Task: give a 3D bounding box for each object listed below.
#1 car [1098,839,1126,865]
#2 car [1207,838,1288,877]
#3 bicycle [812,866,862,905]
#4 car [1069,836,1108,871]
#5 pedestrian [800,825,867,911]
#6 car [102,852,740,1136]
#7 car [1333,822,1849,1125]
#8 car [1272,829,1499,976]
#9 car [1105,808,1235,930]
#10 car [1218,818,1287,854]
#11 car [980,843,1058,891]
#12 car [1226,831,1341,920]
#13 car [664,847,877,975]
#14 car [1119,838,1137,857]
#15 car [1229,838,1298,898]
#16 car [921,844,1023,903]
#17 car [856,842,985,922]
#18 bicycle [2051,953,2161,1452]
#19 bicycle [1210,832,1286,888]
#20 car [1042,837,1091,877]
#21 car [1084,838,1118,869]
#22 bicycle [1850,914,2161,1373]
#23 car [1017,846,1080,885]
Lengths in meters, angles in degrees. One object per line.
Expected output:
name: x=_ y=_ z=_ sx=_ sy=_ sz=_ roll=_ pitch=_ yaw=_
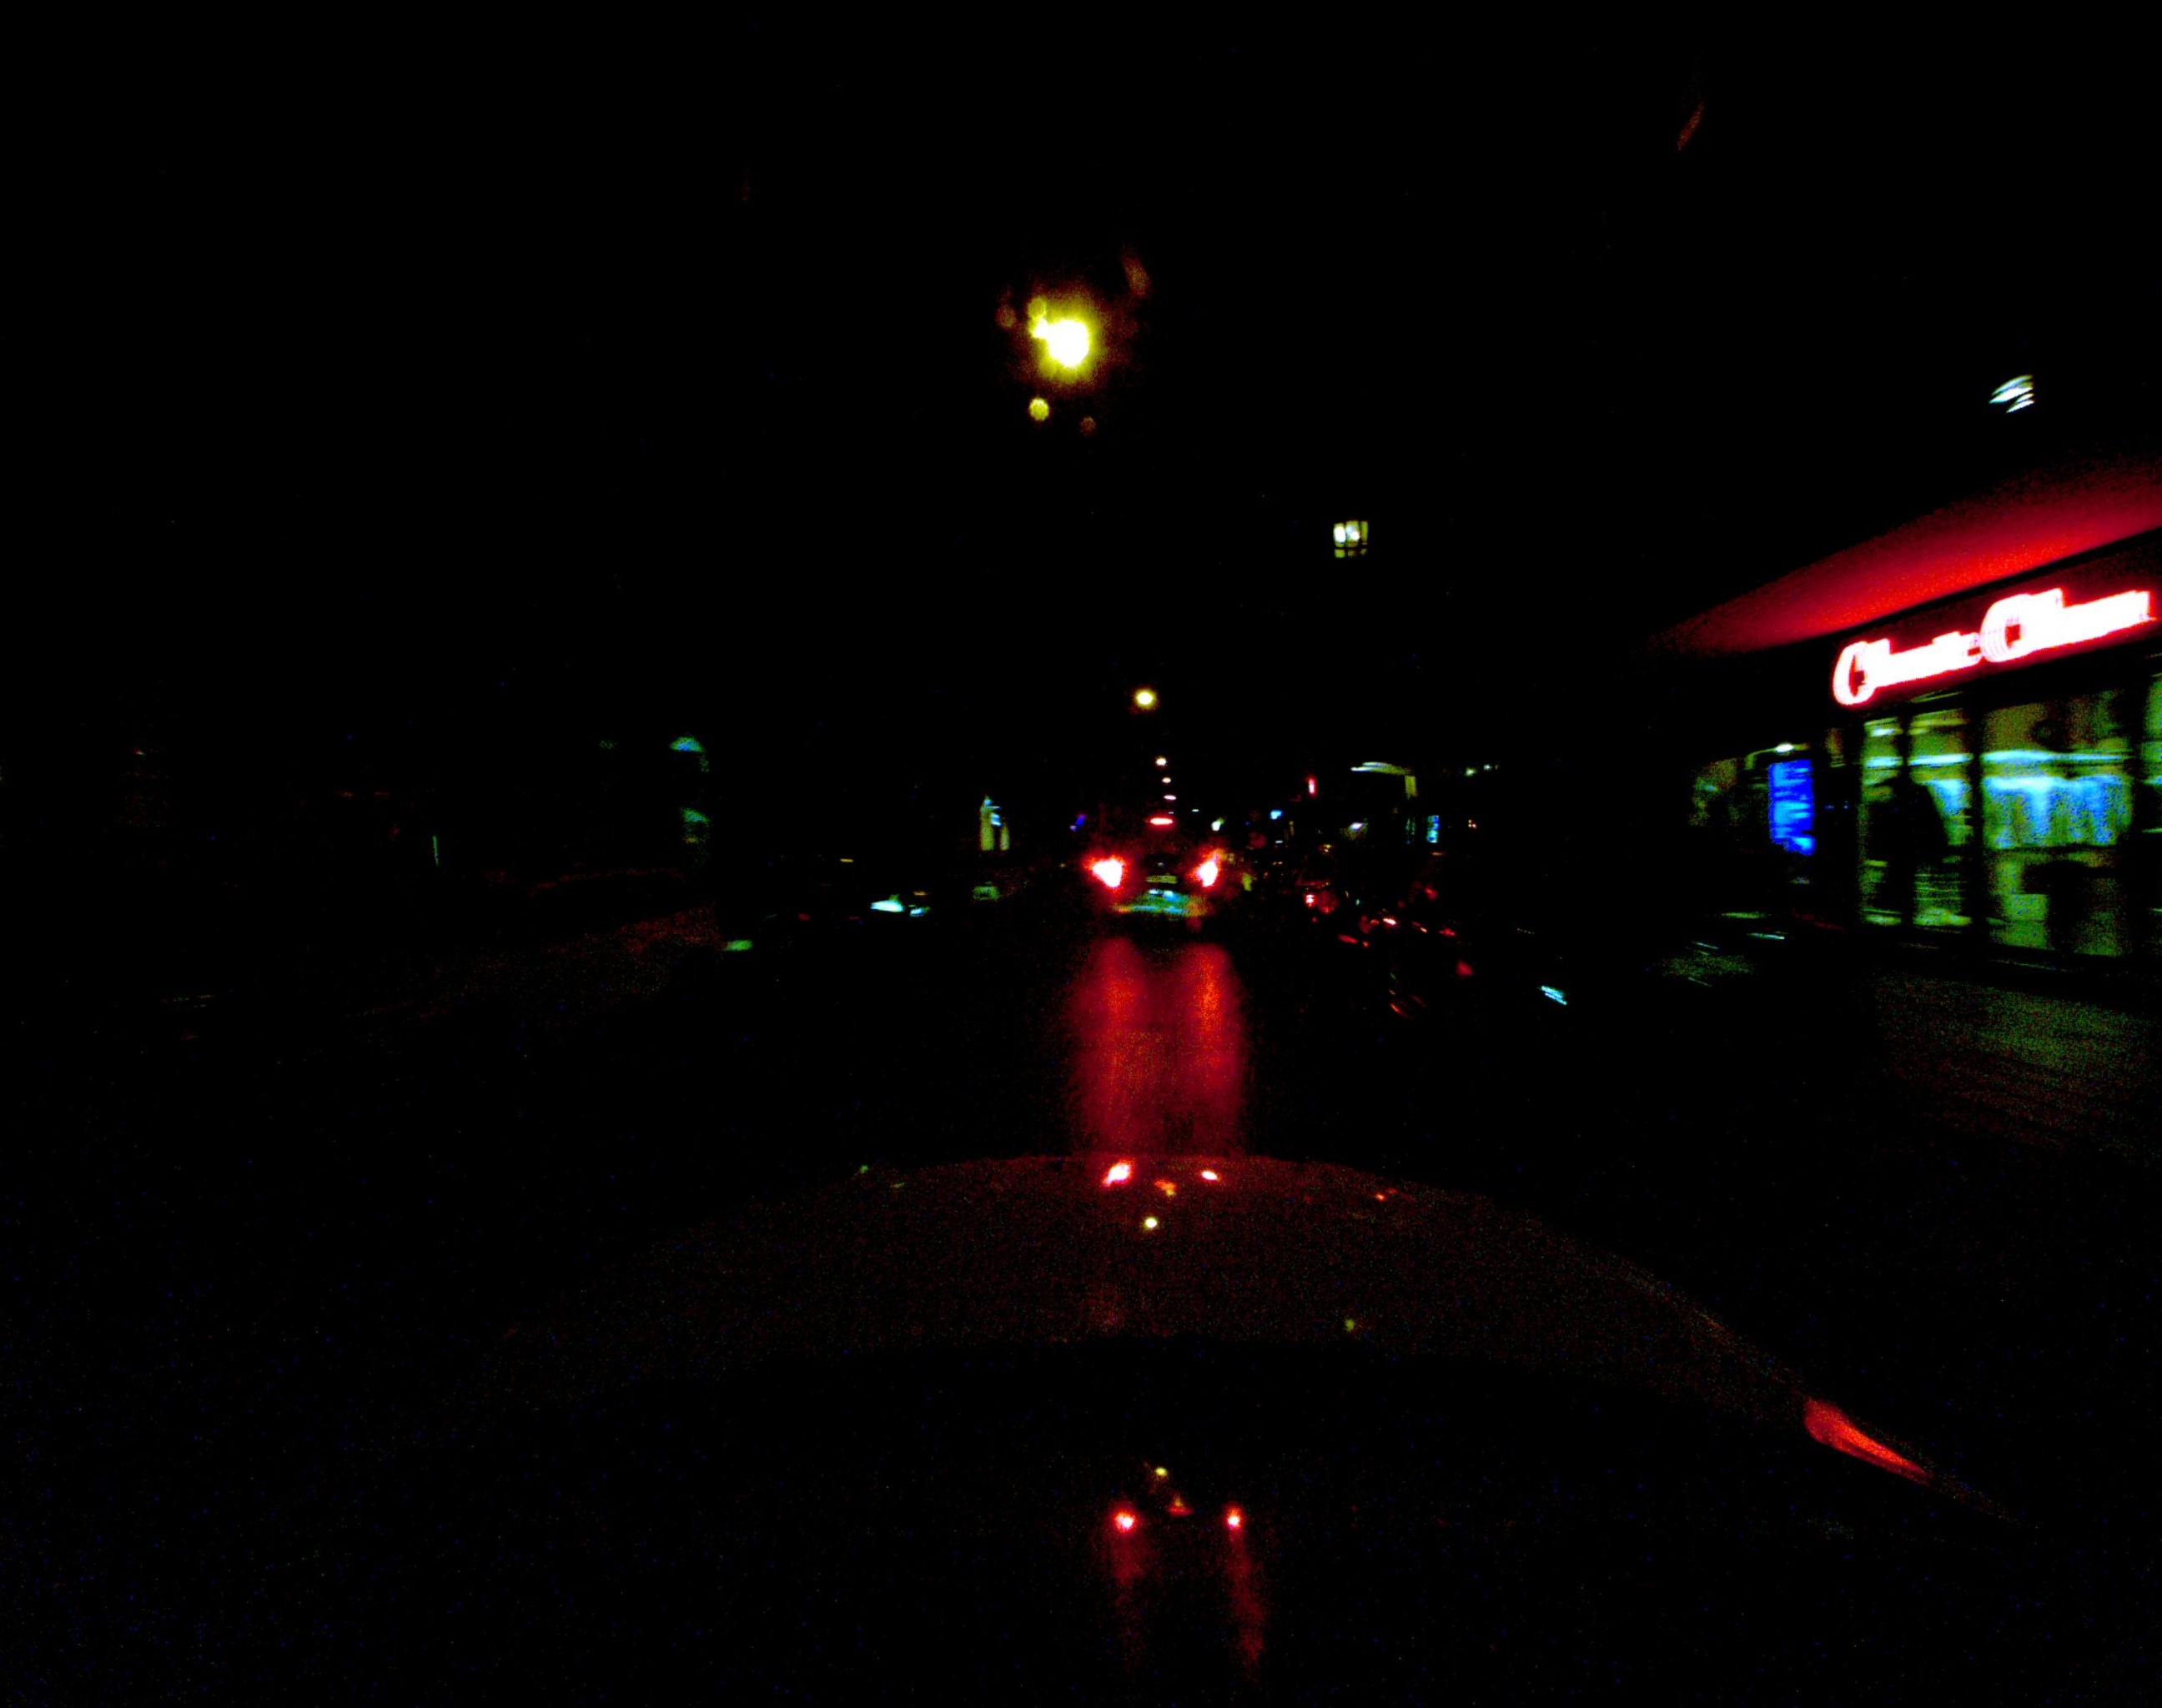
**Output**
car: x=2.592 y=-0.154 z=66.498 sx=1.983 sy=2.013 sz=4.007 roll=1 pitch=0 yaw=6
car: x=9.305 y=0.186 z=45.687 sx=3.987 sy=2.014 sz=1.993 roll=-2 pitch=-1 yaw=-10
bicycle: x=-6.414 y=0.818 z=21.501 sx=0.446 sy=0.958 sz=2.018 roll=-2 pitch=-1 yaw=7
car: x=0.528 y=-0.052 z=49.436 sx=1.984 sy=2.013 sz=4.007 roll=1 pitch=0 yaw=6
pedestrian: x=-5.513 y=0.290 z=18.213 sx=1.023 sy=1.864 sz=0.982 roll=1 pitch=0 yaw=20
car: x=-4.641 y=0.781 z=6.643 sx=1.578 sy=1.463 sz=4.032 roll=2 pitch=1 yaw=7
car: x=3.300 y=0.615 z=6.352 sx=1.744 sy=1.565 sz=4.161 roll=0 pitch=0 yaw=5
car: x=3.721 y=0.505 z=10.793 sx=1.744 sy=1.538 sz=4.405 roll=0 pitch=0 yaw=5
car: x=1.617 y=0.215 z=15.755 sx=2.113 sy=1.991 sz=4.606 roll=-1 pitch=1 yaw=4
car: x=10.427 y=-1.072 z=49.791 sx=3.965 sy=2.013 sz=2.004 roll=-2 pitch=1 yaw=7
car: x=-2.048 y=0.380 z=28.169 sx=1.744 sy=1.448 sz=4.633 roll=1 pitch=1 yaw=7
car: x=4.022 y=0.391 z=16.772 sx=1.744 sy=1.608 sz=3.996 roll=0 pitch=0 yaw=5
car: x=-4.099 y=0.674 z=11.208 sx=1.578 sy=1.509 sz=2.793 roll=0 pitch=1 yaw=7
car: x=5.244 y=-0.689 z=90.612 sx=1.740 sy=2.013 sz=4.007 roll=1 pitch=0 yaw=6
car: x=5.065 y=0.355 z=22.895 sx=1.583 sy=1.543 sz=3.427 roll=0 pitch=0 yaw=7
car: x=-2.827 y=0.453 z=22.158 sx=1.681 sy=1.400 sz=4.326 roll=0 pitch=1 yaw=7
car: x=-3.184 y=0.494 z=16.815 sx=1.578 sy=1.448 sz=3.510 roll=0 pitch=1 yaw=7
bicycle: x=3.267 y=0.772 z=1.741 sx=1.754 sy=1.079 sz=0.436 roll=-1 pitch=1 yaw=4
bicycle: x=5.548 y=0.191 z=27.138 sx=2.307 sy=1.639 sz=0.890 roll=-5 pitch=-1 yaw=8
car: x=-0.655 y=0.129 z=40.387 sx=1.984 sy=1.862 sz=4.100 roll=1 pitch=0 yaw=5
car: x=1.396 y=-0.055 z=55.131 sx=1.983 sy=2.013 sz=4.007 roll=1 pitch=0 yaw=6
bicycle: x=3.363 y=0.755 z=2.334 sx=1.754 sy=1.125 sz=0.436 roll=-5 pitch=1 yaw=4
car: x=-1.230 y=0.404 z=32.970 sx=1.984 sy=1.448 sz=4.007 roll=1 pitch=1 yaw=6
